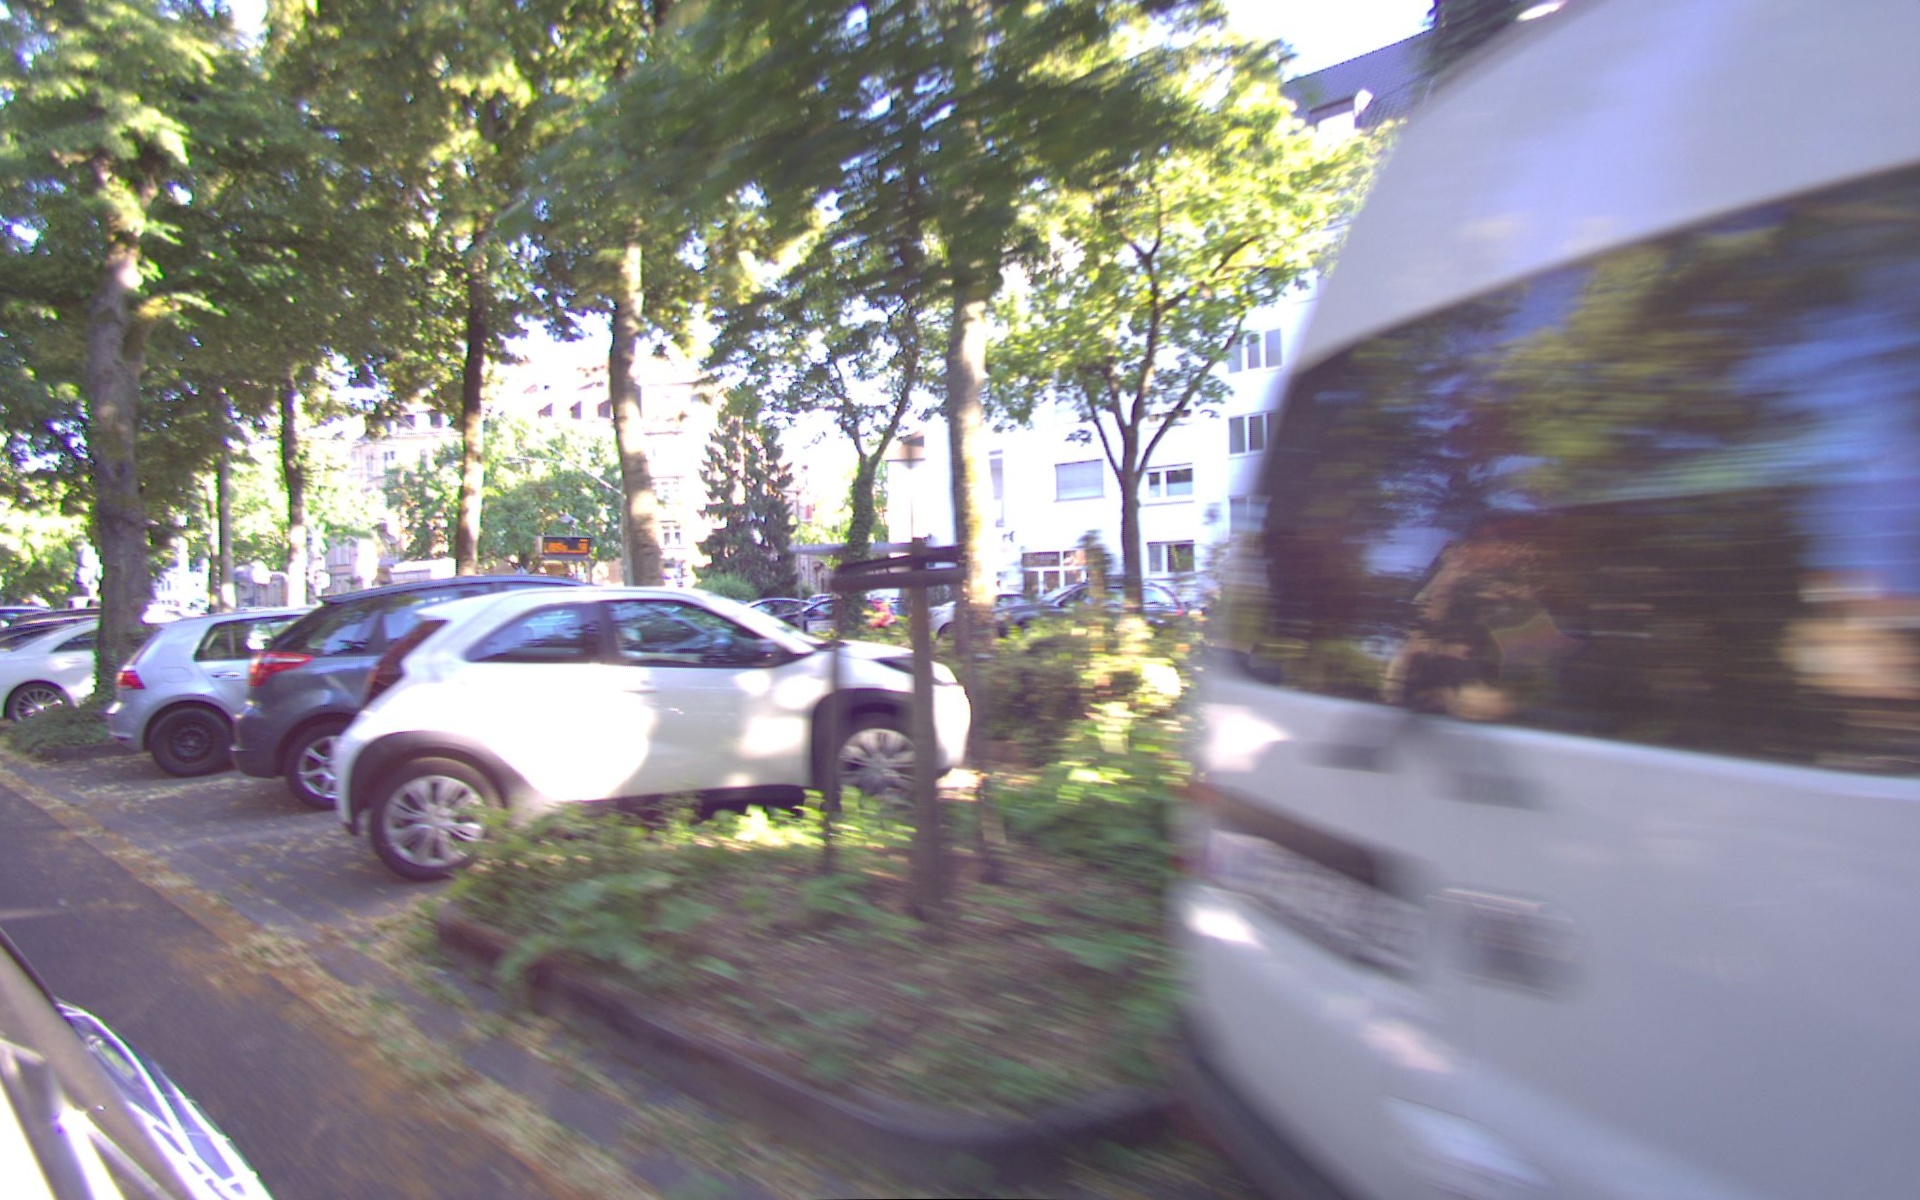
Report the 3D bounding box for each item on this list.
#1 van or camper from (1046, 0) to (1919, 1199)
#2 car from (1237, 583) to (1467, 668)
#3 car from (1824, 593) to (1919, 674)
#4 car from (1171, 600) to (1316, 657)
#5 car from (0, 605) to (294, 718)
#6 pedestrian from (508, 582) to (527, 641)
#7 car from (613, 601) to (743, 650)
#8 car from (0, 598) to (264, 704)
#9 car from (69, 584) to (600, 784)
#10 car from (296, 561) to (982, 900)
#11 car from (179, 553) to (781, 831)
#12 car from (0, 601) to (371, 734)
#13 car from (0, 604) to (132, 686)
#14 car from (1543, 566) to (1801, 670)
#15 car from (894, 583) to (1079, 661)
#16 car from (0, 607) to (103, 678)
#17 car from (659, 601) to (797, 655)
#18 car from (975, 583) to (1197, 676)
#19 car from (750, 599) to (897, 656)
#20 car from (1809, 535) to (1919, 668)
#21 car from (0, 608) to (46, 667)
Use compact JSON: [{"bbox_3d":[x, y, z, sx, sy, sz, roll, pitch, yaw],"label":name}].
[{"bbox_3d":[2.860,0.000,2.196,4.803,2.488,2.052,-4,2,-20],"label":"van or camper"},{"bbox_3d":[7.525,0.446,19.447,3.931,1.438,1.778,-1,0,-22],"label":"car"},{"bbox_3d":[18.877,0.615,19.363,3.507,1.414,1.831,-2,2,42],"label":"car"},{"bbox_3d":[8.092,0.818,28.969,3.507,1.414,1.831,-2,2,42],"label":"car"},{"bbox_3d":[-13.200,0.925,15.945,4.240,1.414,1.750,-4,1,-24],"label":"car"},{"bbox_3d":[-15.536,0.409,35.535,0.528,2.029,0.645,-1,0,-19],"label":"pedestrian"},{"bbox_3d":[-9.120,0.812,32.700,3.931,1.530,1.592,1,-1,-19],"label":"car"},{"bbox_3d":[-14.928,0.851,17.958,3.932,1.523,1.966,-4,1,-27],"label":"car"},{"bbox_3d":[-5.921,0.694,10.234,4.171,1.451,1.863,-4,2,-21],"label":"car"},{"bbox_3d":[-1.847,0.609,6.404,3.490,1.504,1.831,-4,2,-17],"label":"car"},{"bbox_3d":[-3.717,0.564,8.409,3.971,1.674,1.863,-4,2,-24],"label":"car"},{"bbox_3d":[-10.913,0.869,14.076,4.389,1.414,1.863,-4,1,-21],"label":"car"},{"bbox_3d":[-20.157,0.980,21.724,3.296,1.579,1.577,-4,1,-23],"label":"car"},{"bbox_3d":[15.596,0.399,22.311,4.416,2.008,1.831,-2,2,42],"label":"car"},{"bbox_3d":[0.652,0.523,25.449,4.245,1.832,1.819,0,-1,-21],"label":"car"},{"bbox_3d":[-22.455,1.051,23.417,3.632,1.458,1.640,-4,3,-25],"label":"car"},{"bbox_3d":[-6.989,0.792,30.408,3.815,1.455,1.860,-1,0,-20],"label":"car"},{"bbox_3d":[2.897,0.661,23.730,4.739,2.029,2.005,0,-1,-13],"label":"car"},{"bbox_3d":[-3.927,0.743,29.004,3.815,1.455,1.860,-1,0,-20],"label":"car"},{"bbox_3d":[13.740,0.012,13.484,3.932,1.660,1.743,0,-1,-15],"label":"car"},{"bbox_3d":[-27.030,1.114,26.765,3.830,1.458,1.640,-4,3,-25],"label":"car"}]
